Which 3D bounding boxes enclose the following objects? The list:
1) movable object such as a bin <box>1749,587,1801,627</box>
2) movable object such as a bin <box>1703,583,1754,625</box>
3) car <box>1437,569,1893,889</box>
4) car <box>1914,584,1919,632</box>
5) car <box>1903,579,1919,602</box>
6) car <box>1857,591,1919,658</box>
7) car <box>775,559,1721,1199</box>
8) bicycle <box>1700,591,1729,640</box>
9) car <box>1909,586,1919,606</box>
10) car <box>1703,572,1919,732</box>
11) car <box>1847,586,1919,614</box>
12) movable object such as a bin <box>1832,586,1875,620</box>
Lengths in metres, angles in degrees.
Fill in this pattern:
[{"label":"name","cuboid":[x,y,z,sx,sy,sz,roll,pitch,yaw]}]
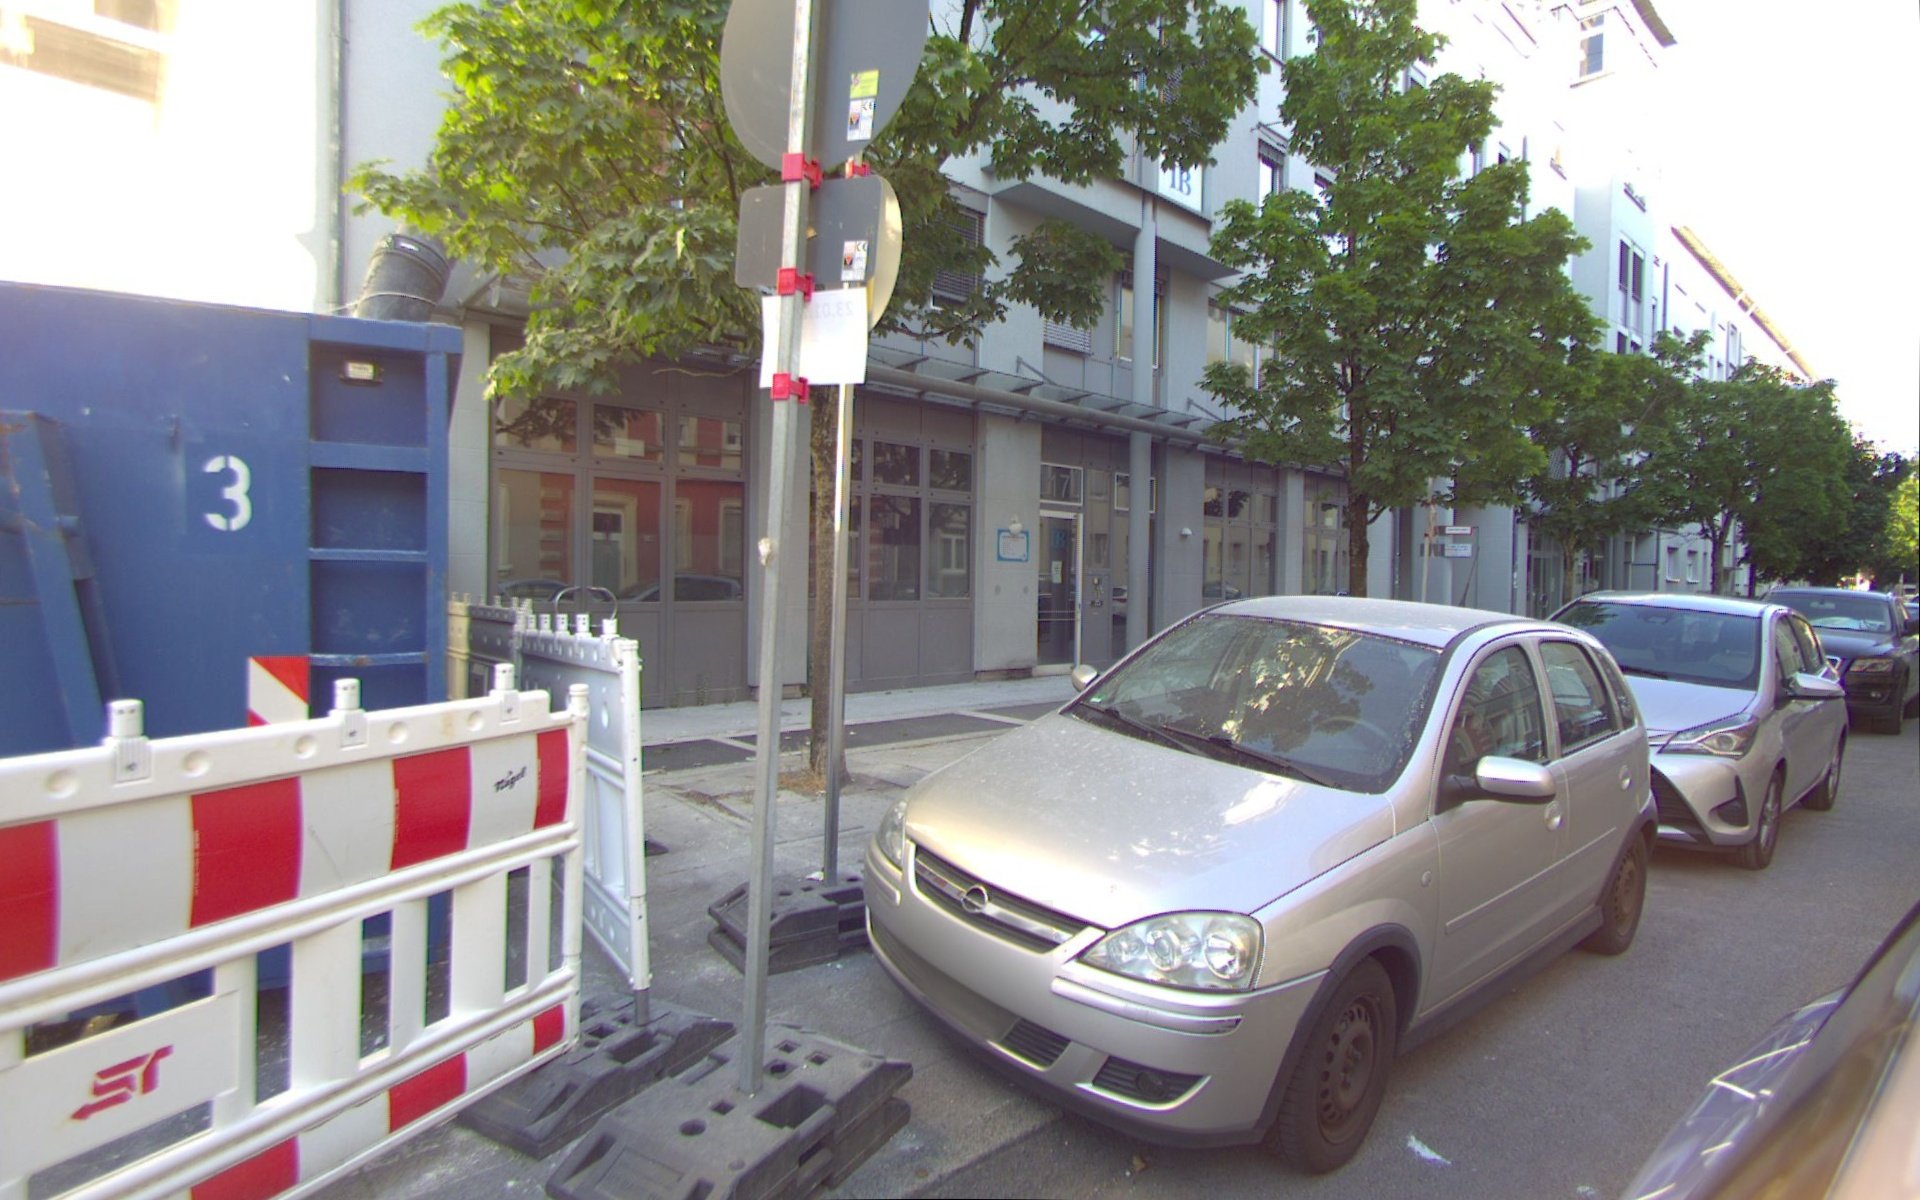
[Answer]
[{"label":"movable object such as a bin","cuboid":[29.279,0.237,36.375,1.120,1.337,1.263,0,3,-43]},{"label":"movable object such as a bin","cuboid":[28.225,0.120,37.169,1.120,1.454,1.263,0,3,-43]},{"label":"car","cuboid":[5.009,0.616,6.979,3.902,1.543,1.679,0,3,-42]},{"label":"car","cuboid":[34.884,0.302,35.477,4.646,1.655,1.873,-1,4,-45]},{"label":"car","cuboid":[96.751,-0.925,101.378,2.147,2.311,6.135,3,3,33]},{"label":"car","cuboid":[22.949,0.561,24.224,4.272,1.446,1.766,0,3,-43]},{"label":"car","cuboid":[1.340,0.654,3.851,3.664,1.493,1.680,0,3,-40]},{"label":"bicycle","cuboid":[19.227,0.378,25.819,0.519,1.182,1.718,3,3,36]},{"label":"car","cuboid":[87.718,-0.255,90.210,2.042,1.792,4.219,0,3,-36]},{"label":"car","cuboid":[11.238,0.522,13.020,4.360,1.642,1.888,0,3,-43]},{"label":"car","cuboid":[59.924,-0.030,65.211,1.968,1.584,3.991,0,4,-44]},{"label":"movable object such as a bin","cuboid":[40.169,0.113,45.502,1.202,1.454,1.286,0,3,-43]}]
